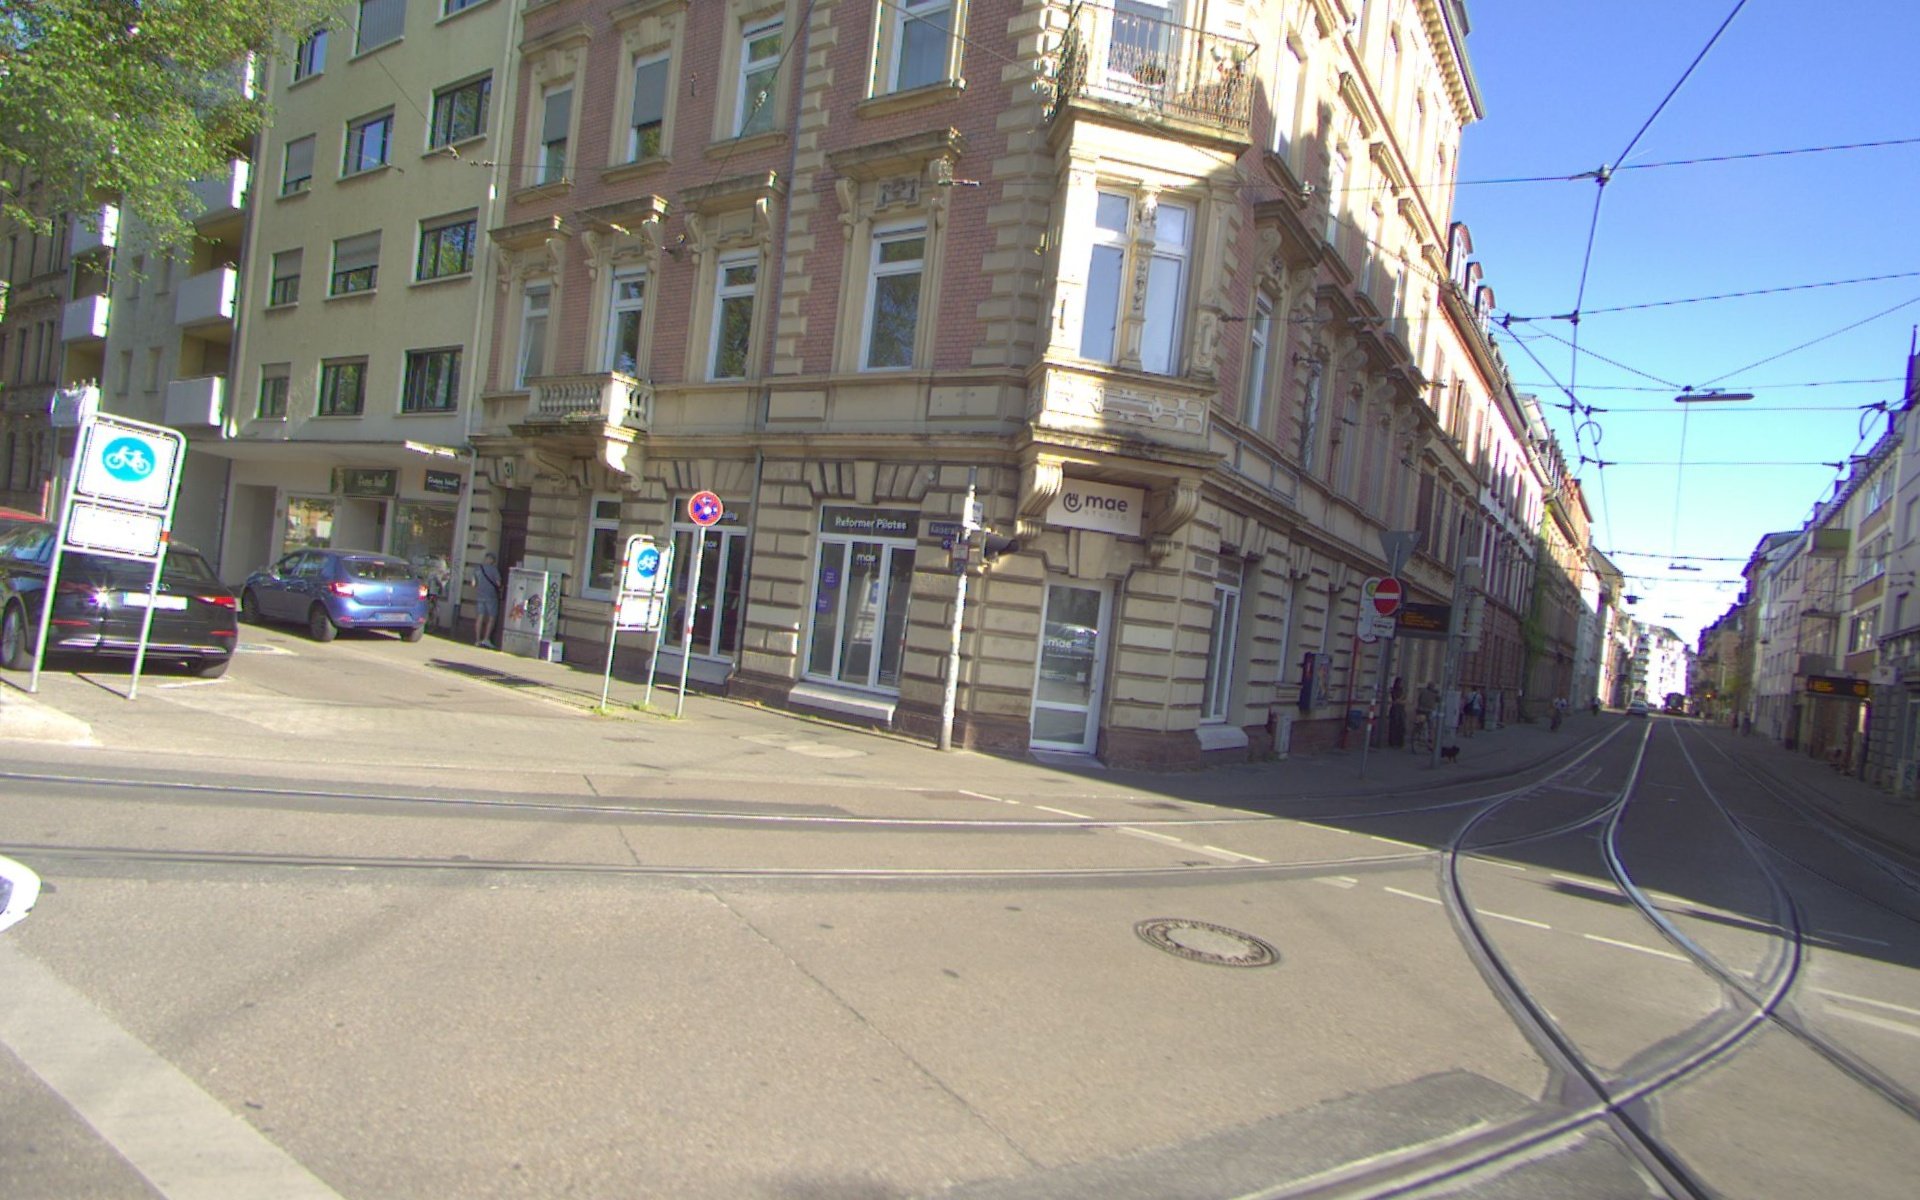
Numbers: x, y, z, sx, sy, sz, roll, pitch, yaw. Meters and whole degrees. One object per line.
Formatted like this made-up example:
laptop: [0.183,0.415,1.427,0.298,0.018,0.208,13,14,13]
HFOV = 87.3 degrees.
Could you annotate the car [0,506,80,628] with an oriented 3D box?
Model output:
car: [-13.778,-0.639,13.728,3.842,1.450,1.592,7,-2,34]

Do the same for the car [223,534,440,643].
car: [-11.356,-0.231,18.119,3.933,1.500,1.693,7,3,31]

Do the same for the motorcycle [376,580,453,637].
motorcycle: [-10.753,0.160,19.798,1.842,0.907,0.485,7,3,33]

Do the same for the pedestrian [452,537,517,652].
pedestrian: [-8.909,-0.103,18.853,0.839,2.036,0.512,7,-1,37]

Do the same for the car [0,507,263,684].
car: [-9.523,-0.143,10.906,4.102,1.437,1.700,7,-2,33]
